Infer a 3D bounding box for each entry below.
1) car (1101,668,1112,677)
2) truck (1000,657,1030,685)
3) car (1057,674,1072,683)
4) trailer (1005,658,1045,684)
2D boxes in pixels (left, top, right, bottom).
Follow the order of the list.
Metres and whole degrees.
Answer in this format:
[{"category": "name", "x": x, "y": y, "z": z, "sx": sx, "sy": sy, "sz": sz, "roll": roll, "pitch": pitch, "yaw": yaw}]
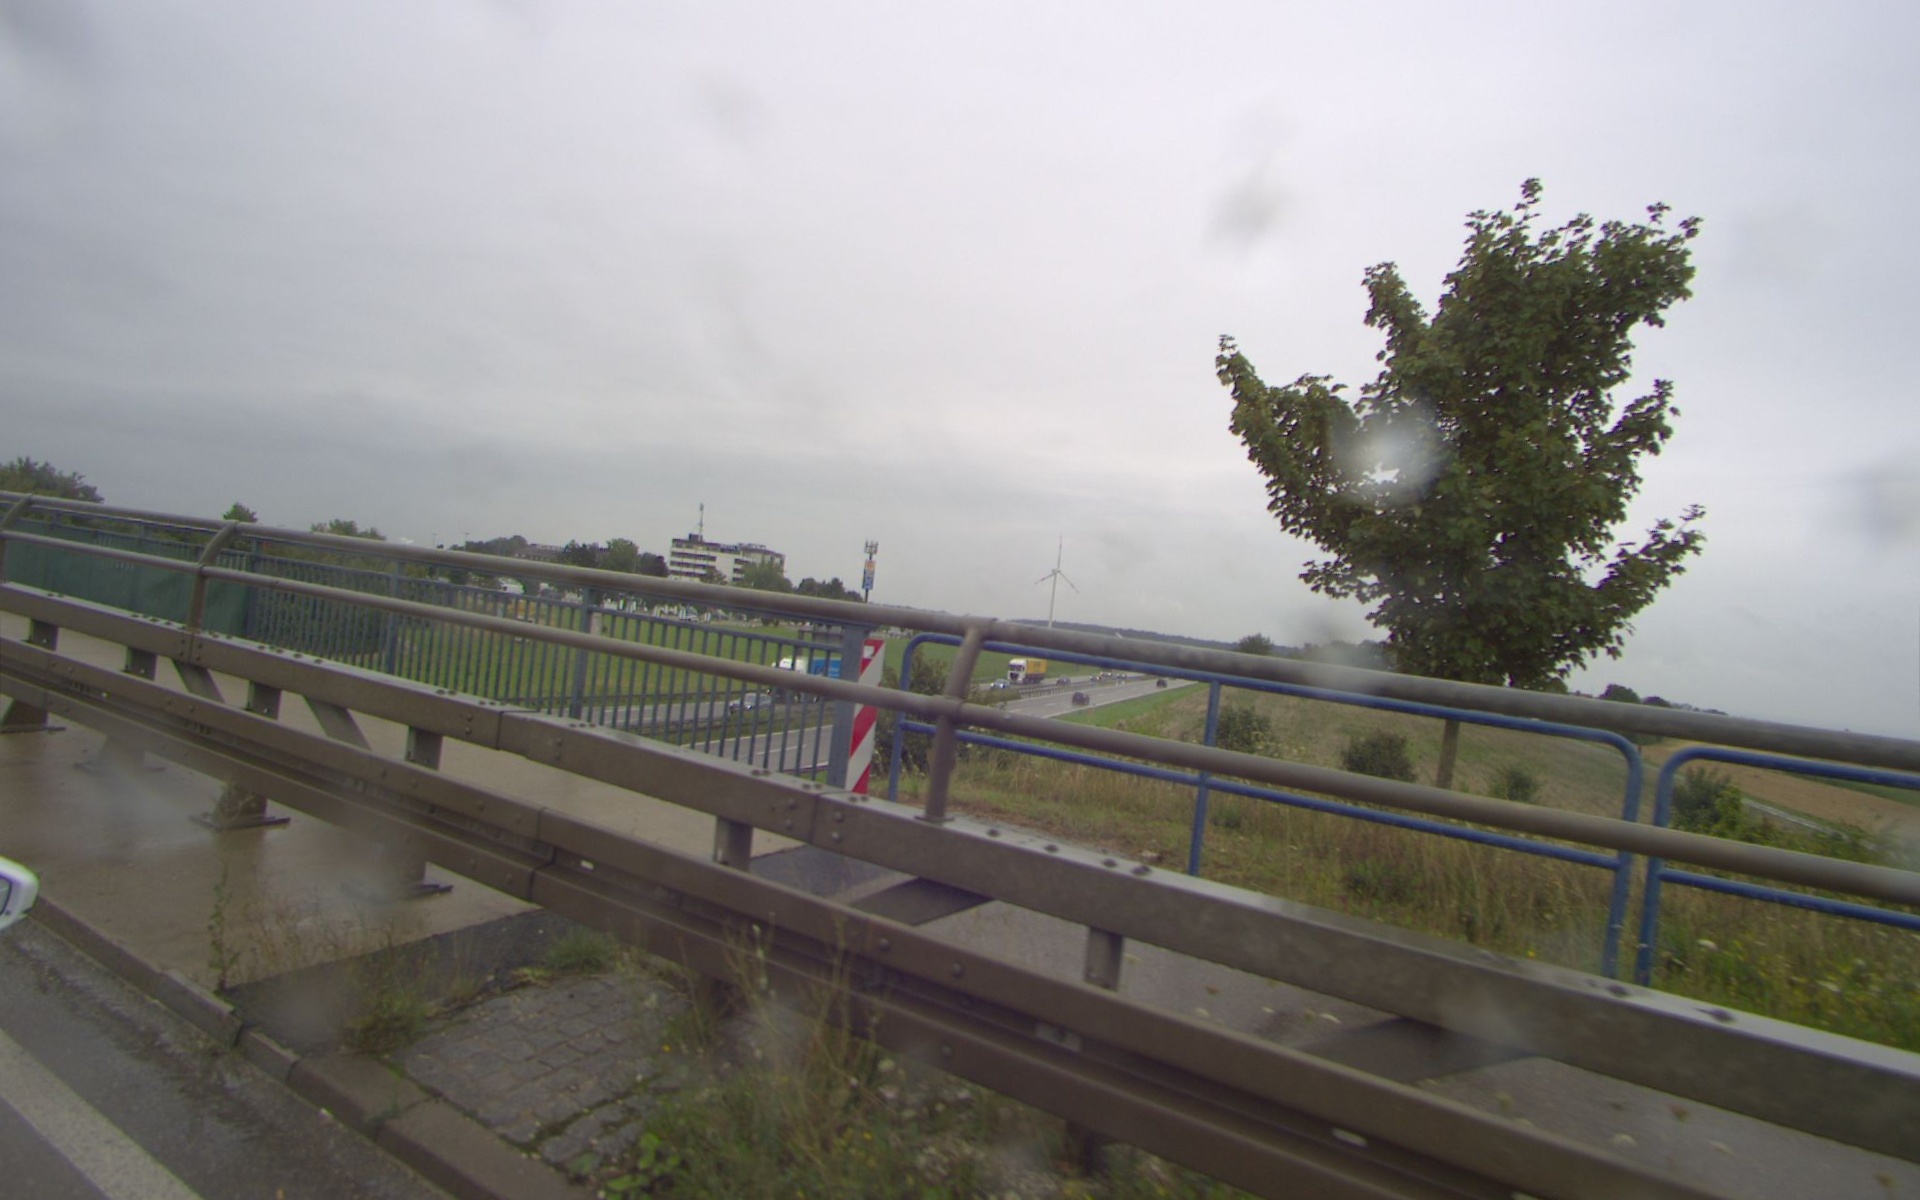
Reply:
[{"category": "car", "x": 35.280, "y": 17.385, "z": 242.093, "sx": 1.962, "sy": 1.783, "sz": 4.007, "roll": 7, "pitch": -3, "yaw": 17}, {"category": "truck", "x": 9.052, "y": 11.577, "z": 164.675, "sx": 2.828, "sy": 4.015, "sz": 6.823, "roll": 7, "pitch": -1, "yaw": 19}, {"category": "car", "x": 18.884, "y": 14.090, "z": 180.973, "sx": 1.646, "sy": 1.366, "sz": 4.005, "roll": 7, "pitch": -3, "yaw": 20}, {"category": "trailer", "x": 11.216, "y": 12.027, "z": 171.122, "sx": 2.828, "sy": 4.015, "sz": 14.030, "roll": 7, "pitch": -1, "yaw": 19}]
